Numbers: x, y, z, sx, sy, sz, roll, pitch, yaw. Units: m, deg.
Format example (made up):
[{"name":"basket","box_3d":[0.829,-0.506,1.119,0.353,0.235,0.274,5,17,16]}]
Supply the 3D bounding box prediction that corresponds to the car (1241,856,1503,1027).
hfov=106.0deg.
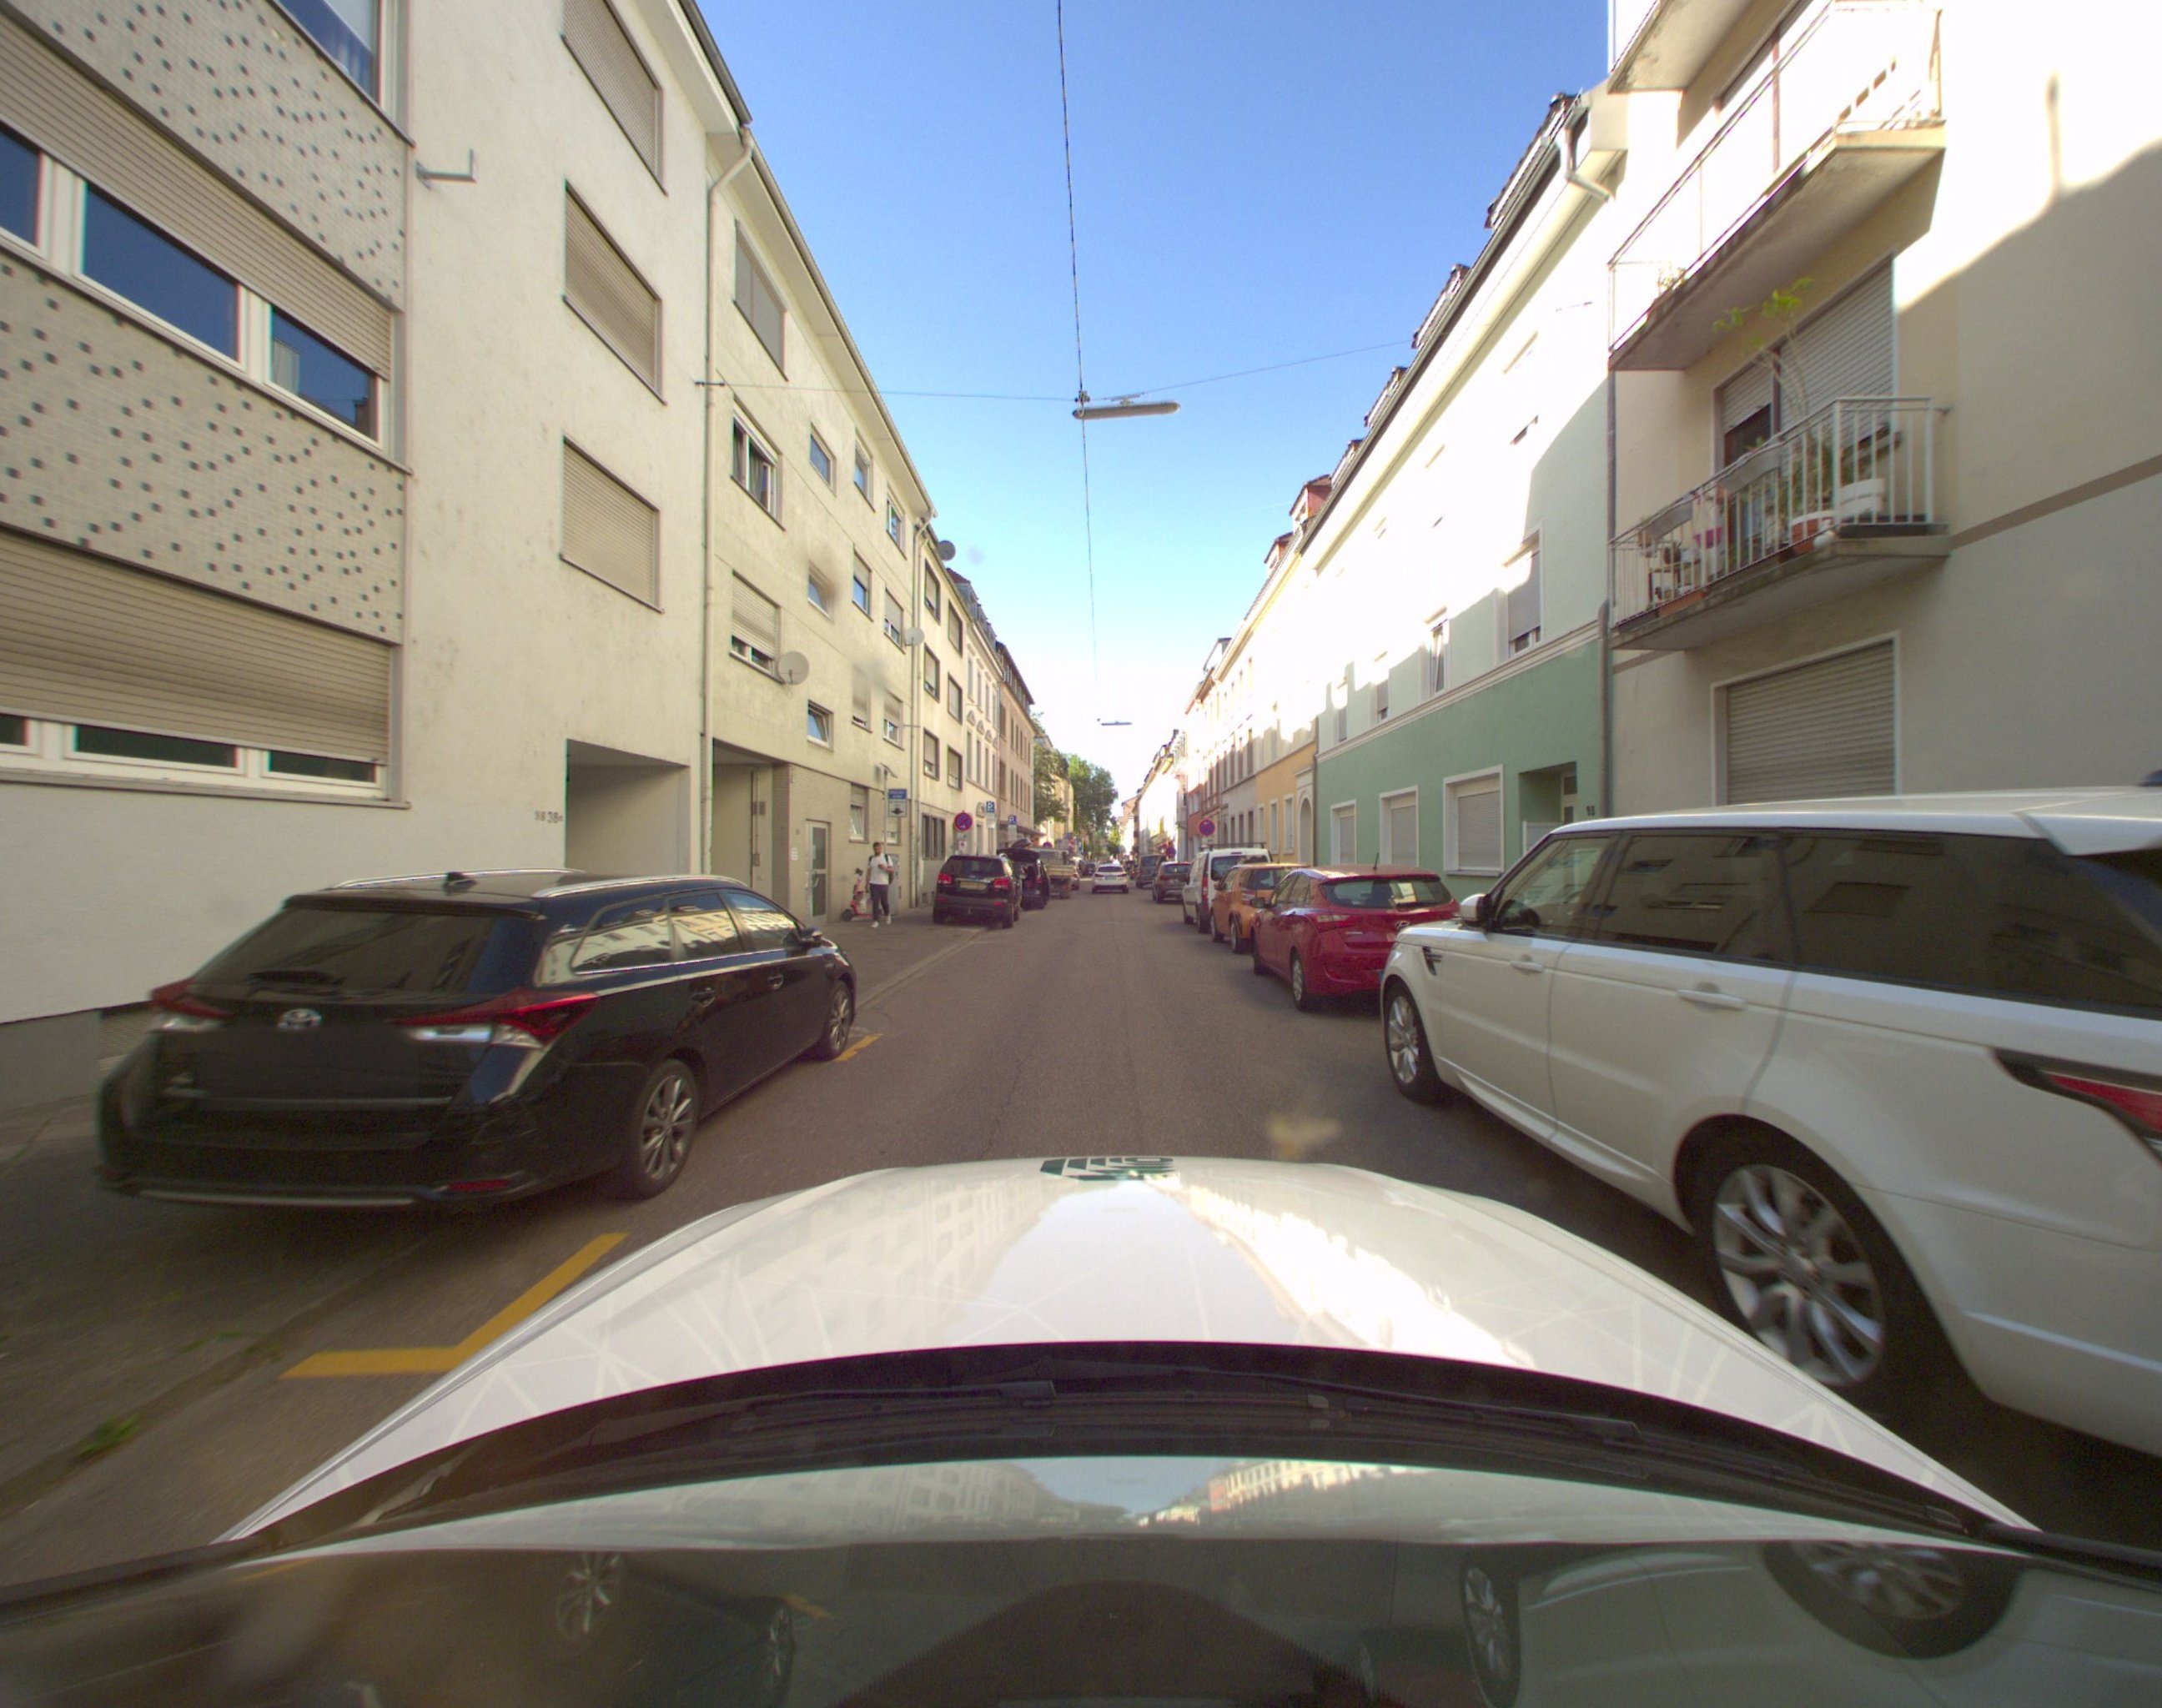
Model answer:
[{"name":"car","box_3d":[3.100,0.822,9.603,1.736,1.569,4.033,-1,0,1]}]

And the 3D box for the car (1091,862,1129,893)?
[{"name":"car","box_3d":[1.496,1.156,41.087,1.826,1.486,4.059,-1,-1,3]}]

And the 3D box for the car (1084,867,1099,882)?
[{"name":"car","box_3d":[1.166,2.201,88.970,1.618,1.597,3.582,0,-1,2]}]

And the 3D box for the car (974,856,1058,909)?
[{"name":"car","box_3d":[-2.183,0.940,29.087,2.432,1.706,5.244,0,0,2]}]

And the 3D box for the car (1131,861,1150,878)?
[{"name":"car","box_3d":[5.361,1.386,74.021,1.640,1.577,3.681,0,-1,2]}]

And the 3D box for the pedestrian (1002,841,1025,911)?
[{"name":"pedestrian","box_3d":[-2.188,0.720,26.458,0.616,2.229,0.688,-1,-2,2]}]

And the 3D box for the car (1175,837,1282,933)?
[{"name":"car","box_3d":[3.317,0.675,19.092,1.776,1.962,4.336,0,-1,1]}]

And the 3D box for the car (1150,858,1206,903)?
[{"name":"car","box_3d":[3.691,0.977,31.619,1.733,1.577,4.379,0,0,2]}]

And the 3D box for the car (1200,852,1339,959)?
[{"name":"car","box_3d":[3.219,0.816,14.561,1.575,1.632,3.680,1,0,-1]}]

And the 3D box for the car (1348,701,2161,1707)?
[{"name":"car","box_3d":[2.928,0.616,3.593,1.998,1.783,4.940,0,0,2]}]

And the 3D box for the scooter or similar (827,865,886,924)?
[{"name":"scooter or similar","box_3d":[-5.131,0.907,18.626,0.433,1.278,1.241,-2,-1,42]}]

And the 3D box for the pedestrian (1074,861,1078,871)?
[{"name":"pedestrian","box_3d":[-0.765,1.733,121.980,0.625,1.464,0.575,-1,-2,2]}]

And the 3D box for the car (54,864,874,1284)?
[{"name":"car","box_3d":[-2.702,0.794,5.006,1.701,1.450,4.301,0,-1,1]}]

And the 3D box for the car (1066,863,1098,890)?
[{"name":"car","box_3d":[0.084,1.287,47.955,1.752,1.416,4.000,-2,0,0]}]

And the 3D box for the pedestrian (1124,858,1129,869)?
[{"name":"pedestrian","box_3d":[6.308,1.293,113.264,0.625,1.464,0.575,-1,-2,2]}]

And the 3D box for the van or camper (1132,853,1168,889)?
[{"name":"van or camper","box_3d":[4.147,1.028,49.512,1.769,2.036,4.569,-2,-1,0]}]

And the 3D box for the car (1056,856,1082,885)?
[{"name":"car","box_3d":[-0.799,1.077,53.917,1.642,1.868,3.998,0,-1,-1]}]

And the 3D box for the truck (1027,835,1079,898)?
[{"name":"truck","box_3d":[-1.303,0.607,37.013,2.152,2.590,6.242,-1,-2,-3]}]

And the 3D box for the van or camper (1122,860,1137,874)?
[{"name":"van or camper","box_3d":[6.640,1.791,112.206,1.986,1.926,4.001,-1,-2,2]}]

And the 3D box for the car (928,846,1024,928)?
[{"name":"car","box_3d":[-2.499,0.731,20.461,1.874,1.755,4.540,3,0,-2]}]

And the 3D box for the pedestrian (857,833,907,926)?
[{"name":"pedestrian","box_3d":[-4.300,0.545,17.635,0.803,1.934,0.691,2,-1,1]}]
